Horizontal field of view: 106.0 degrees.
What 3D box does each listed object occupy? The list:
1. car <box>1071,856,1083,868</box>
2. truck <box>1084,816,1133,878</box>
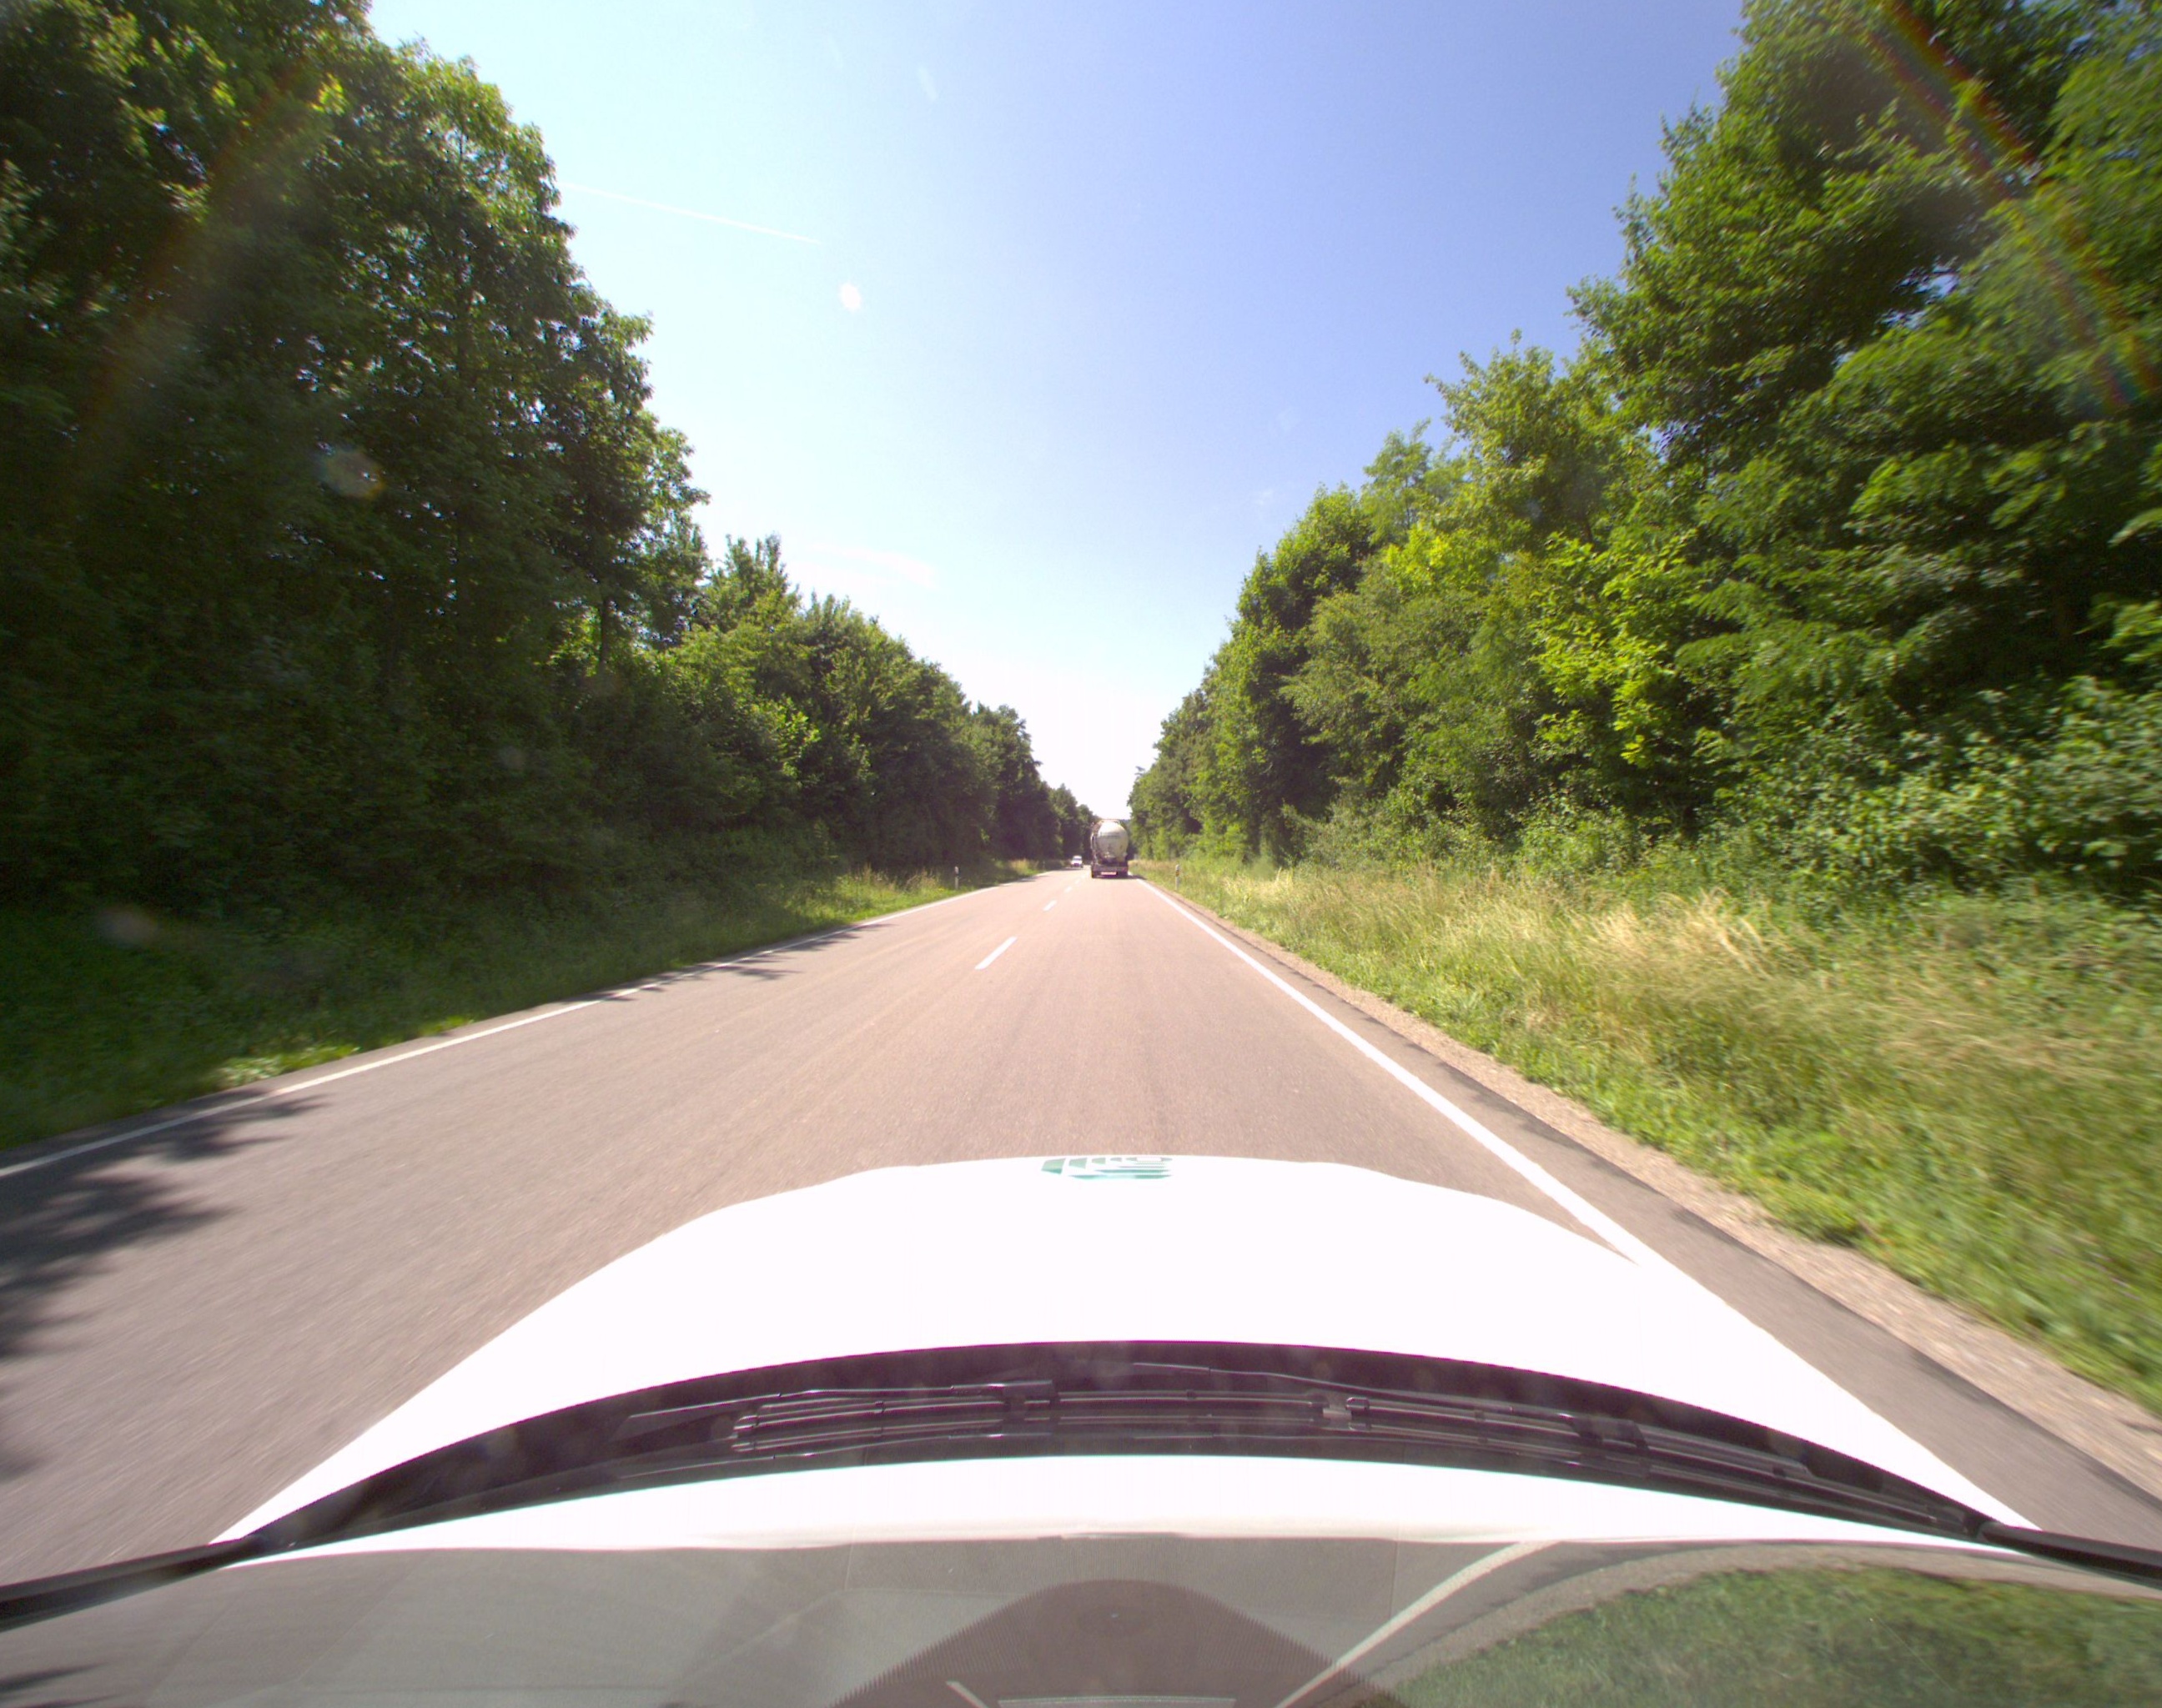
[{"bbox_3d":[-0.519,1.061,113.748,1.506,1.592,3.795,-1,0,2],"label":"car"},{"bbox_3d":[1.905,-0.404,61.133,3.039,3.998,15.636,2,-1,1],"label":"truck"}]
